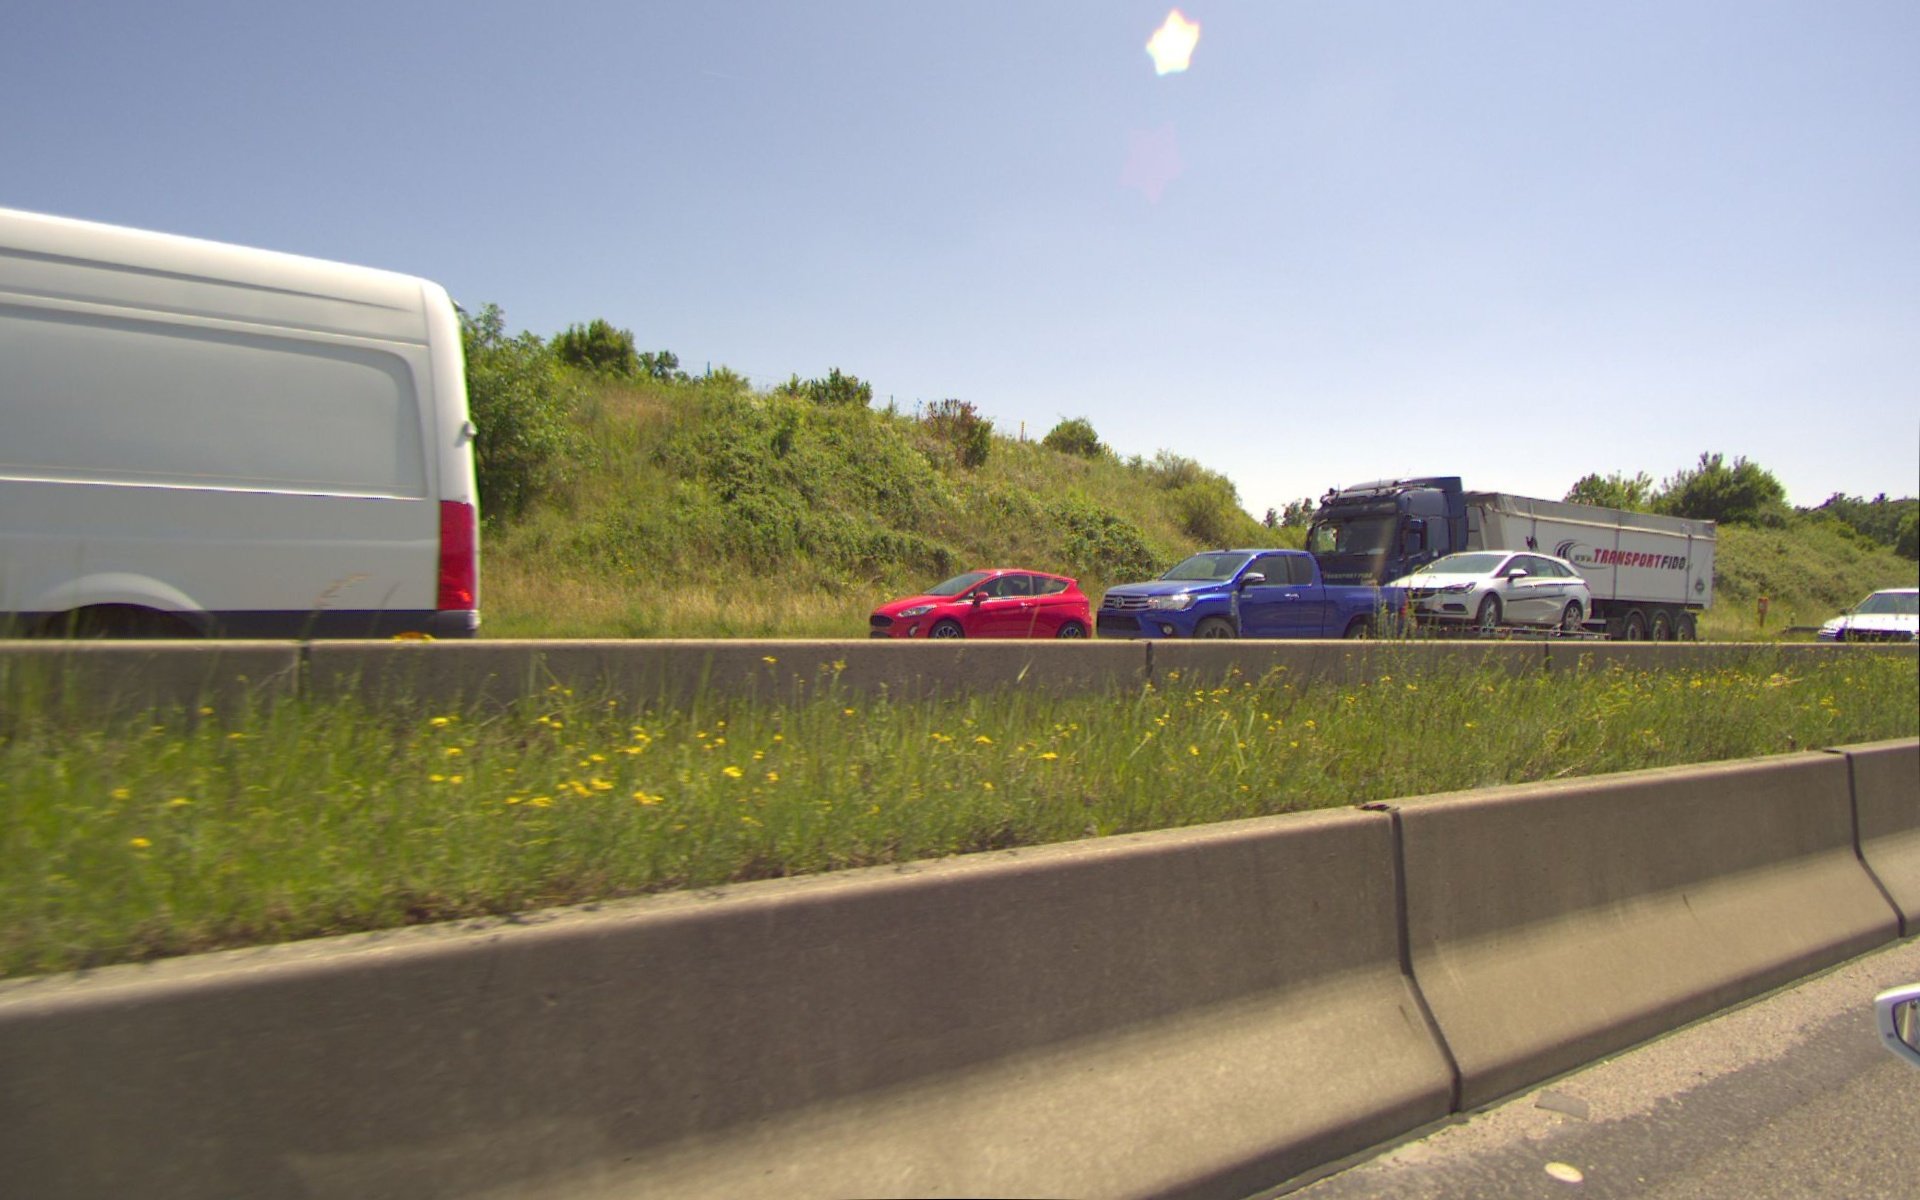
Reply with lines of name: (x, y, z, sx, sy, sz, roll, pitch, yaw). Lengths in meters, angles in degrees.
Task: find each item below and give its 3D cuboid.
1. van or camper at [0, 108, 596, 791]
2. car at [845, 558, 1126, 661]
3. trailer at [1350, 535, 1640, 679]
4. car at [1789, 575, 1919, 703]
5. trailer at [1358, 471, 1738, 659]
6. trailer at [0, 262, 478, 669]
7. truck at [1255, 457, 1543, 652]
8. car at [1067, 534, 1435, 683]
van or camper: (-5.788, -0.726, 4.472, 7.552, 2.916, 1.983, 2, 3, -30)
car: (0.491, 0.189, 17.153, 4.531, 1.559, 1.787, 2, 0, -31)
trailer: (9.596, 0.122, 17.922, 5.103, 2.240, 2.079, 2, 3, -30)
car: (17.855, 0.698, 18.700, 5.103, 2.041, 1.984, 2, 3, -30)
trailer: (15.871, -0.750, 26.675, 11.403, 4.148, 3.560, 1, 1, -31)
trailer: (-12.102, -1.380, 9.807, 13.095, 4.002, 2.665, 2, 0, -32)
truck: (10.144, -0.922, 23.261, 5.381, 3.929, 3.438, 2, 2, -30)
car: (4.410, 0.166, 14.796, 5.679, 1.858, 1.787, 2, 0, -31)
